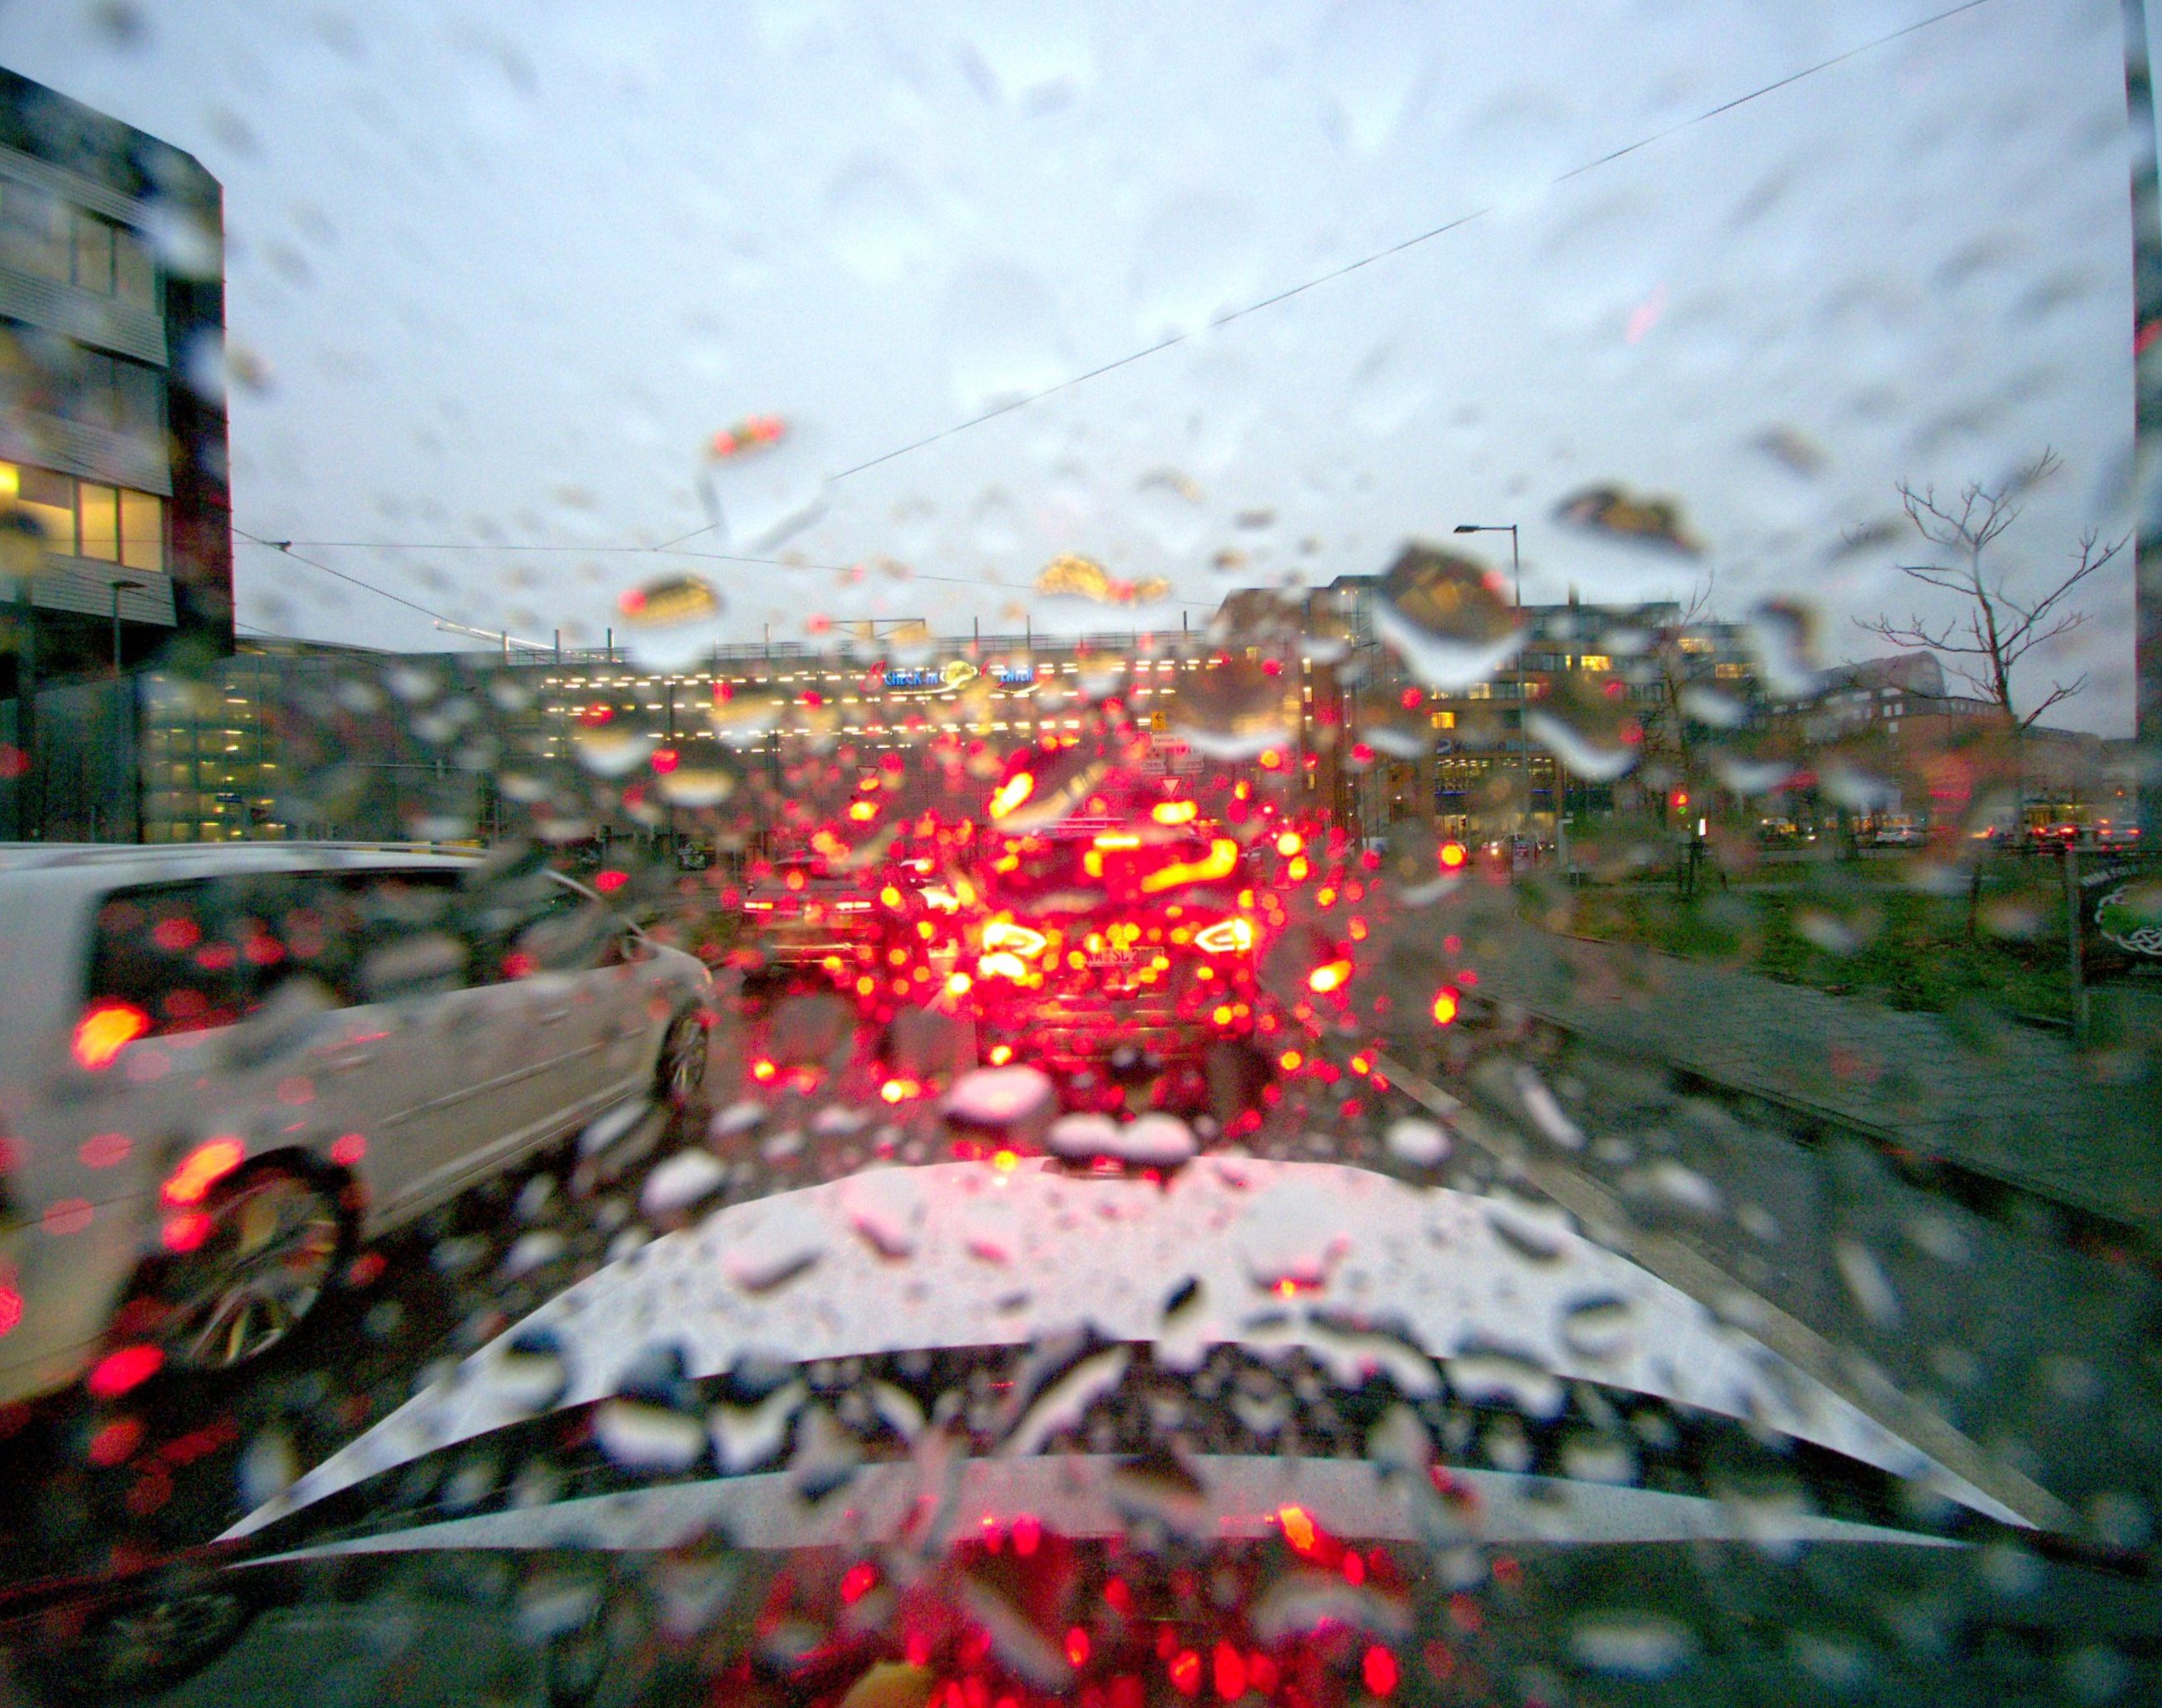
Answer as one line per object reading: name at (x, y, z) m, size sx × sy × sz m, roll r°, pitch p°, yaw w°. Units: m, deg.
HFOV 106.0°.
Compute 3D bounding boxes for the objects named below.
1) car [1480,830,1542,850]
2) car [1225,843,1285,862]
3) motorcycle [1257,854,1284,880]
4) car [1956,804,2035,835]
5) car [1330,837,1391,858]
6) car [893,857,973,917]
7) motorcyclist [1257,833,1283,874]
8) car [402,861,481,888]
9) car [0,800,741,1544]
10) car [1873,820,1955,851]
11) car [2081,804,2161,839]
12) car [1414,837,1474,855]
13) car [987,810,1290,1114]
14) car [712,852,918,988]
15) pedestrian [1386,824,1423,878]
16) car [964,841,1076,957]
car at (36.327, -1.160, 68.836) m, size 4.425 × 1.534 × 1.796 m, roll -2°, pitch 0°, yaw -6°
car at (14.110, -0.135, 66.266) m, size 4.413 × 1.390 × 1.796 m, roll -2°, pitch 0°, yaw -6°
motorcycle at (7.340, 0.483, 31.617) m, size 0.848 × 0.972 × 1.585 m, roll -2°, pitch 0°, yaw 7°
car at (64.371, -2.422, 57.304) m, size 4.948 × 2.013 × 1.987 m, roll 0°, pitch 0°, yaw -20°
car at (22.841, -0.535, 66.633) m, size 4.413 × 1.595 × 1.796 m, roll -2°, pitch 0°, yaw -6°
car at (-3.467, 0.728, 19.688) m, size 1.538 × 1.251 × 4.059 m, roll -1°, pitch 0°, yaw -6°
motorcyclist at (7.332, -0.010, 31.634) m, size 0.863 × 1.534 × 1.110 m, roll -2°, pitch 0°, yaw 7°
car at (-52.525, 1.664, 66.975) m, size 4.831 × 2.000 × 1.797 m, roll -2°, pitch 0°, yaw -5°
car at (-3.247, 0.684, 3.705) m, size 1.665 × 1.660 × 4.147 m, roll 1°, pitch 0°, yaw 0°
car at (56.707, -1.253, 55.467) m, size 3.985 × 2.013 × 1.994 m, roll 0°, pitch 0°, yaw -9°
car at (60.745, -1.887, 46.869) m, size 4.664 × 1.851 × 1.827 m, roll -2°, pitch -1°, yaw -7°
car at (30.160, -0.670, 67.760) m, size 4.209 × 1.390 × 1.796 m, roll -2°, pitch 0°, yaw -6°
car at (0.326, 0.617, 6.810) m, size 1.730 × 1.738 × 4.246 m, roll 1°, pitch 0°, yaw 0°
car at (-3.584, 0.786, 11.766) m, size 1.748 × 1.574 × 3.997 m, roll -2°, pitch 0°, yaw -2°
pedestrian at (11.798, -0.116, 29.681) m, size 1.159 × 1.924 × 0.904 m, roll 1°, pitch 0°, yaw 25°
car at (-0.971, 0.665, 13.849) m, size 1.632 × 1.697 × 3.667 m, roll -1°, pitch 0°, yaw -3°
